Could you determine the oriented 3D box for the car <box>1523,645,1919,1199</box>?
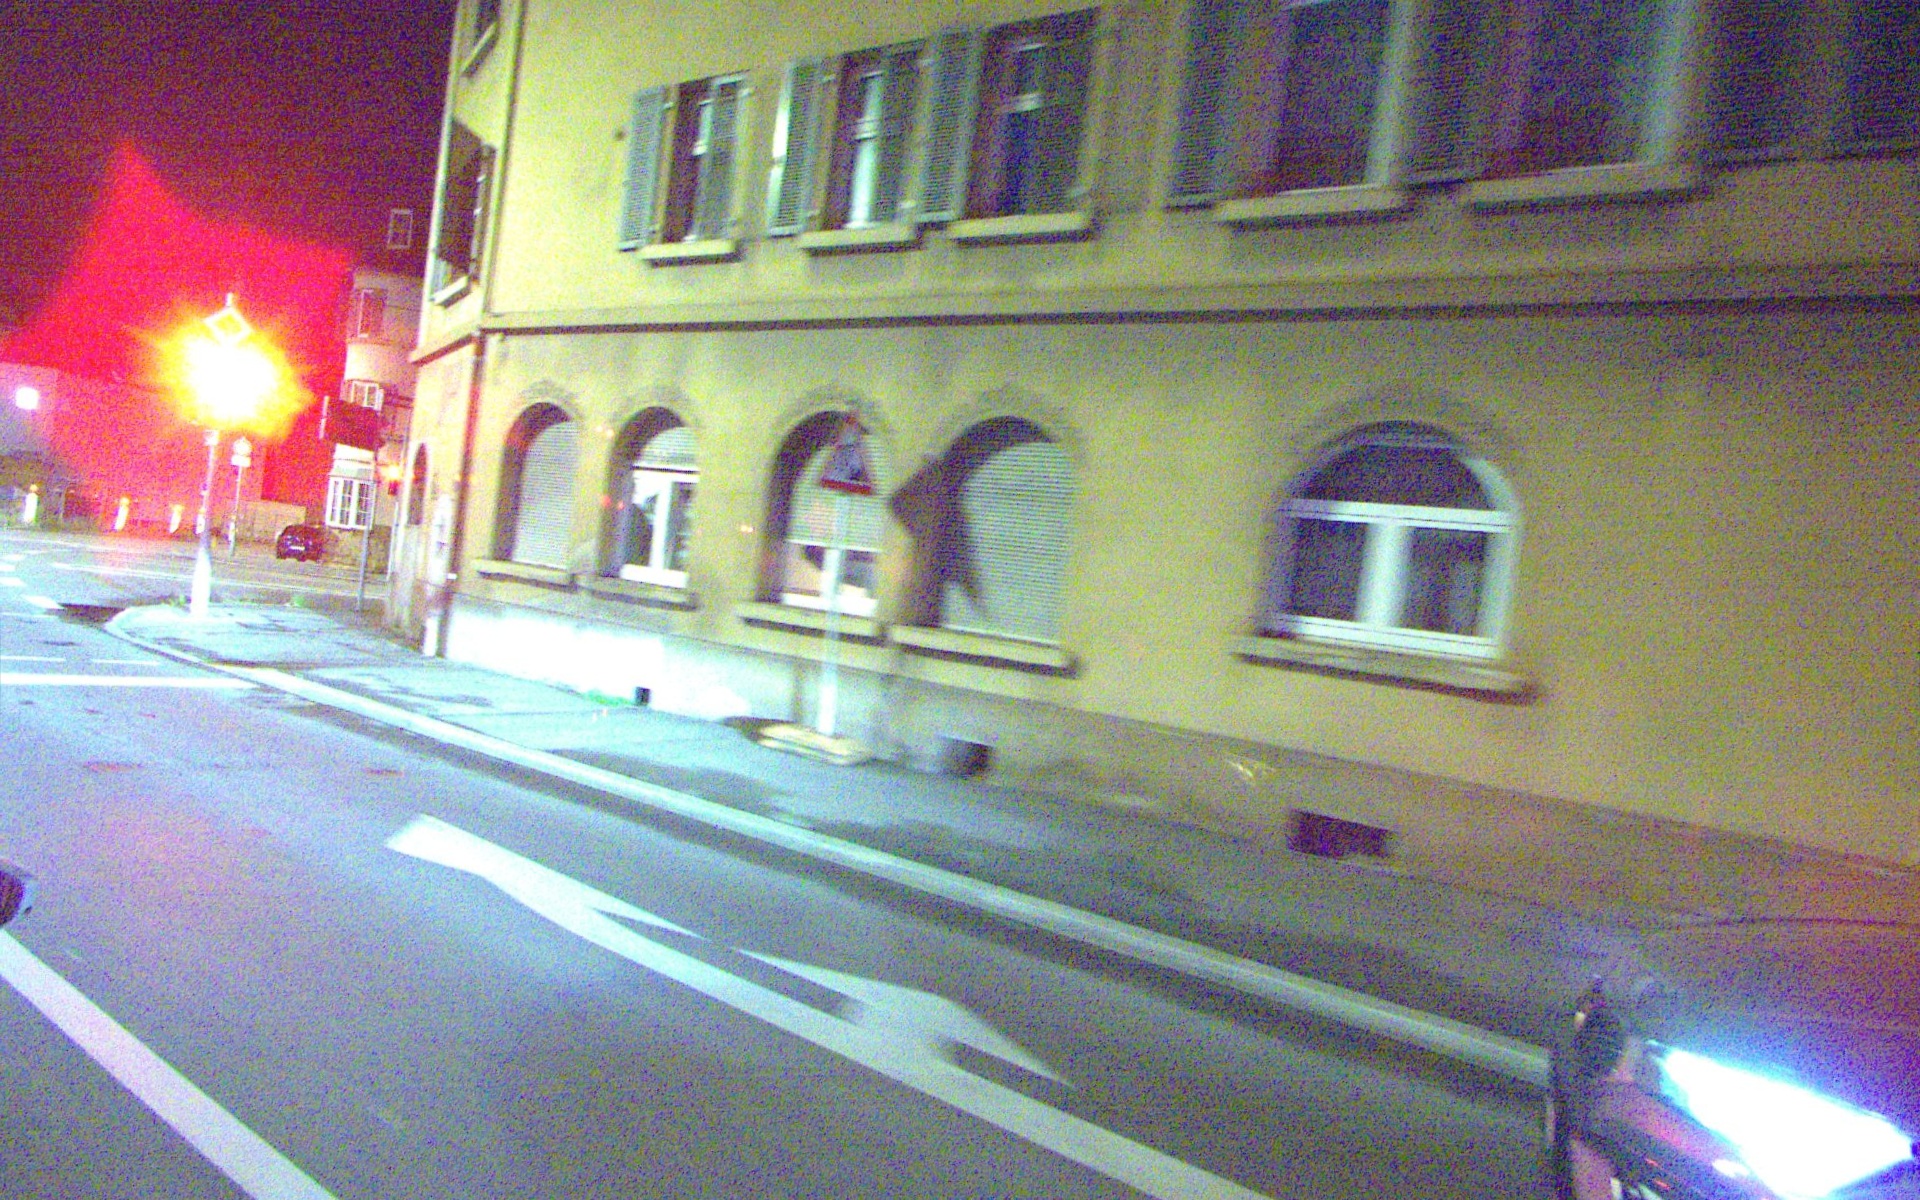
[{"bbox_3d":[3.232,1.138,1.396,4.159,1.629,1.673,6,-1,31],"label":"car"}]

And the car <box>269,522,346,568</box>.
[{"bbox_3d":[-27.962,-2.311,43.227,1.707,1.631,3.611,7,-1,-17],"label":"car"}]
